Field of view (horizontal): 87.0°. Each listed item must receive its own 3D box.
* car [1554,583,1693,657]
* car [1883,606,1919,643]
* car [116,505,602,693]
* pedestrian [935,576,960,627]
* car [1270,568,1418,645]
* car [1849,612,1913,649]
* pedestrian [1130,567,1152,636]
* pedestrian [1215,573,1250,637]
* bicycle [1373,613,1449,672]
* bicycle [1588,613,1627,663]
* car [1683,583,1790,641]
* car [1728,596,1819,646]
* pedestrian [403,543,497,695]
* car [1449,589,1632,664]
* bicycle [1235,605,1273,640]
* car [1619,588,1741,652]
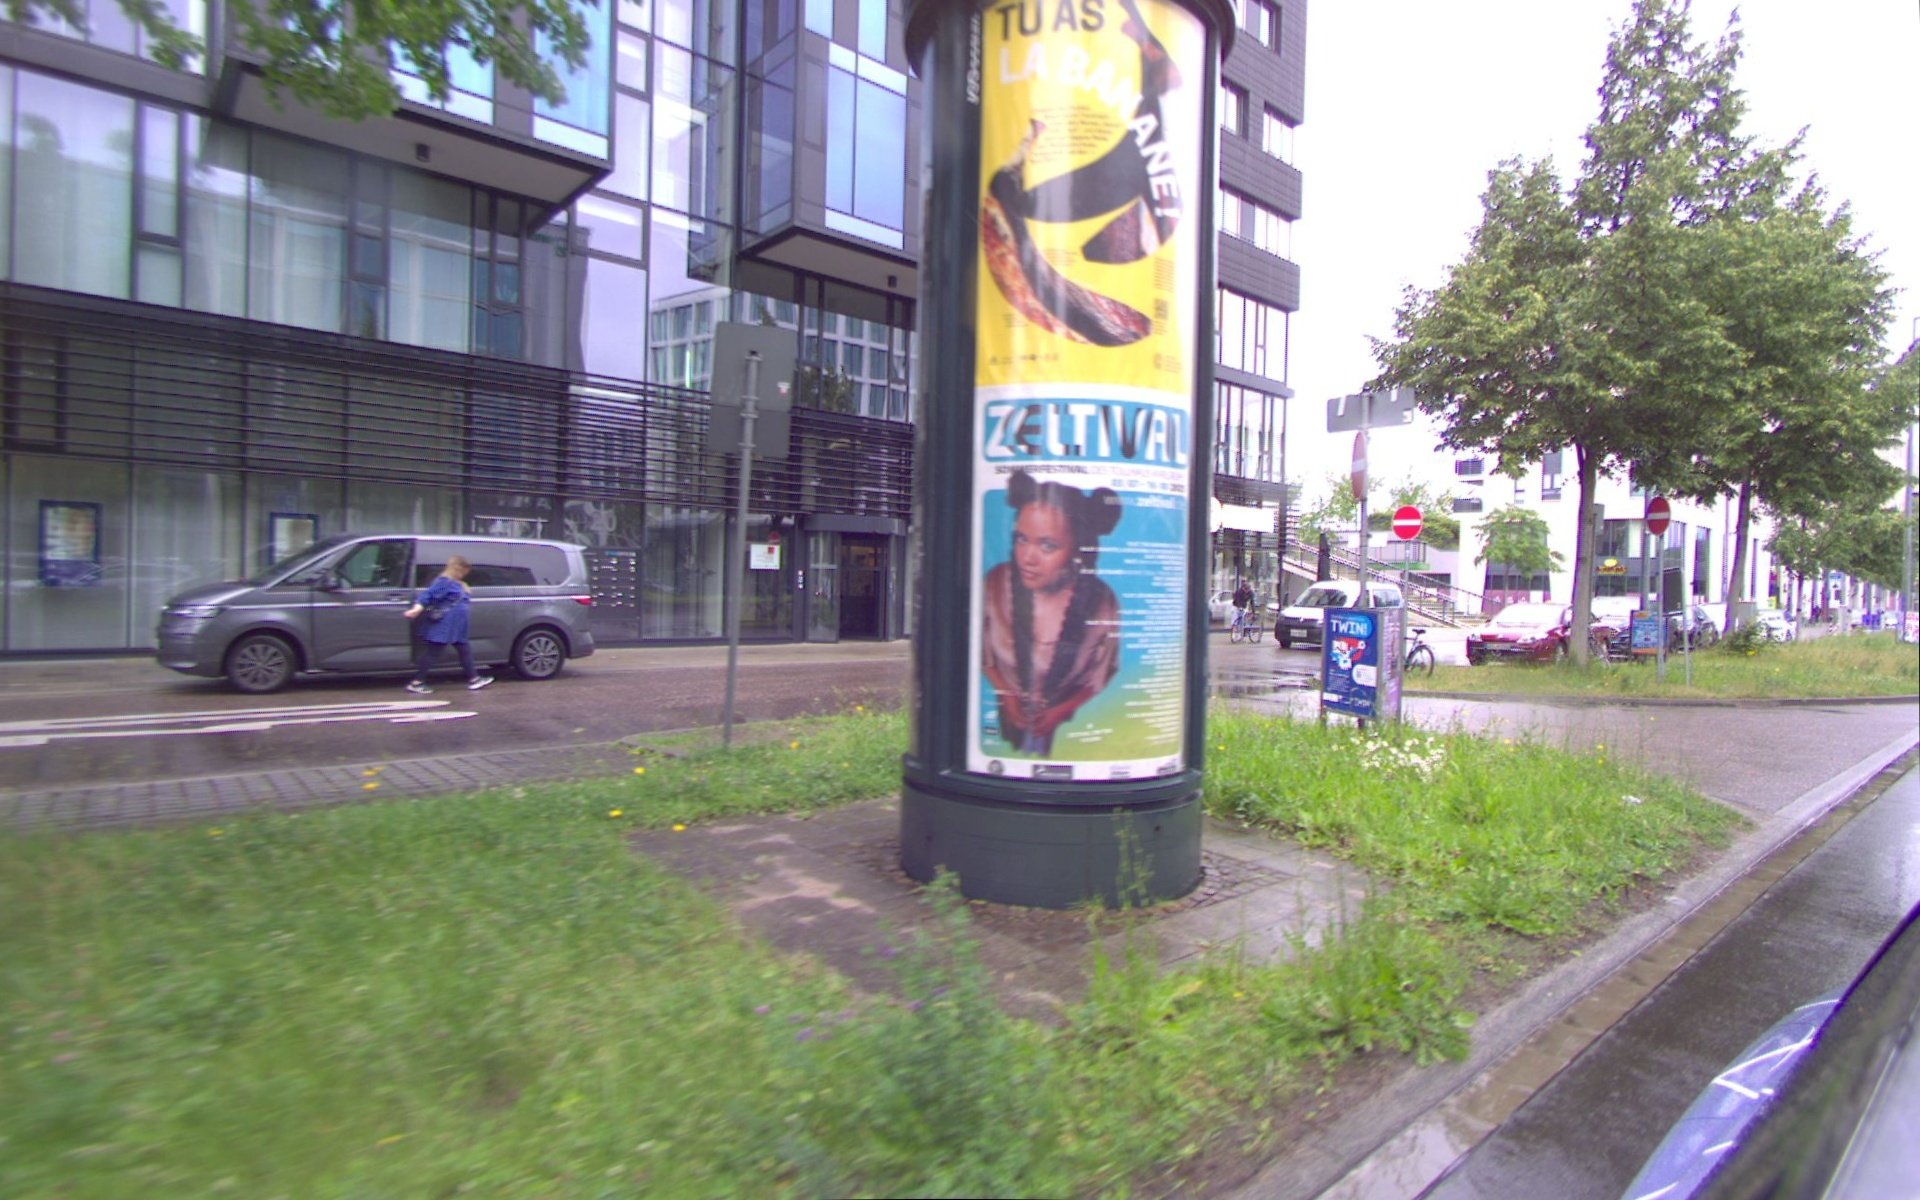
[{"bbox_3d":[17.301,0.544,26.316,4.144,1.729,1.997,3,-1,-42],"label":"car"},{"bbox_3d":[56.677,1.477,60.650,1.911,2.039,3.935,2,-1,44],"label":"car"},{"bbox_3d":[-7.477,-0.024,12.990,5.062,1.944,1.996,0,1,-43],"label":"car"},{"bbox_3d":[-0.312,0.035,25.684,0.571,1.253,0.449,3,-1,1],"label":"pedestrian"},{"bbox_3d":[10.368,0.166,27.134,4.645,1.889,1.895,1,0,-44],"label":"car"},{"bbox_3d":[48.184,1.623,52.916,4.754,1.729,1.997,3,-1,-42],"label":"car"},{"bbox_3d":[5.020,0.041,28.089,0.500,1.856,0.574,2,-1,13],"label":"pedestrian"},{"bbox_3d":[7.488,0.128,27.823,0.625,1.727,0.646,2,-1,44],"label":"pedestrian"},{"bbox_3d":[7.610,0.702,17.135,0.424,0.929,1.464,3,-1,-9],"label":"bicycle"},{"bbox_3d":[12.222,0.712,19.082,0.570,0.873,1.891,2,-1,33],"label":"bicycle"},{"bbox_3d":[25.988,0.428,33.807,4.754,1.729,1.997,3,-1,-42],"label":"car"},{"bbox_3d":[31.640,0.839,39.295,4.754,1.729,1.997,3,-1,-42],"label":"car"},{"bbox_3d":[-6.167,0.220,12.246,0.790,1.761,0.581,3,0,-43],"label":"pedestrian"},{"bbox_3d":[12.928,0.538,22.412,4.872,1.473,1.997,1,1,-41],"label":"car"},{"bbox_3d":[8.035,0.608,27.617,0.436,0.909,1.212,2,-1,45],"label":"bicycle"},{"bbox_3d":[21.606,0.625,30.291,4.641,1.729,1.997,3,-1,-42],"label":"car"}]
